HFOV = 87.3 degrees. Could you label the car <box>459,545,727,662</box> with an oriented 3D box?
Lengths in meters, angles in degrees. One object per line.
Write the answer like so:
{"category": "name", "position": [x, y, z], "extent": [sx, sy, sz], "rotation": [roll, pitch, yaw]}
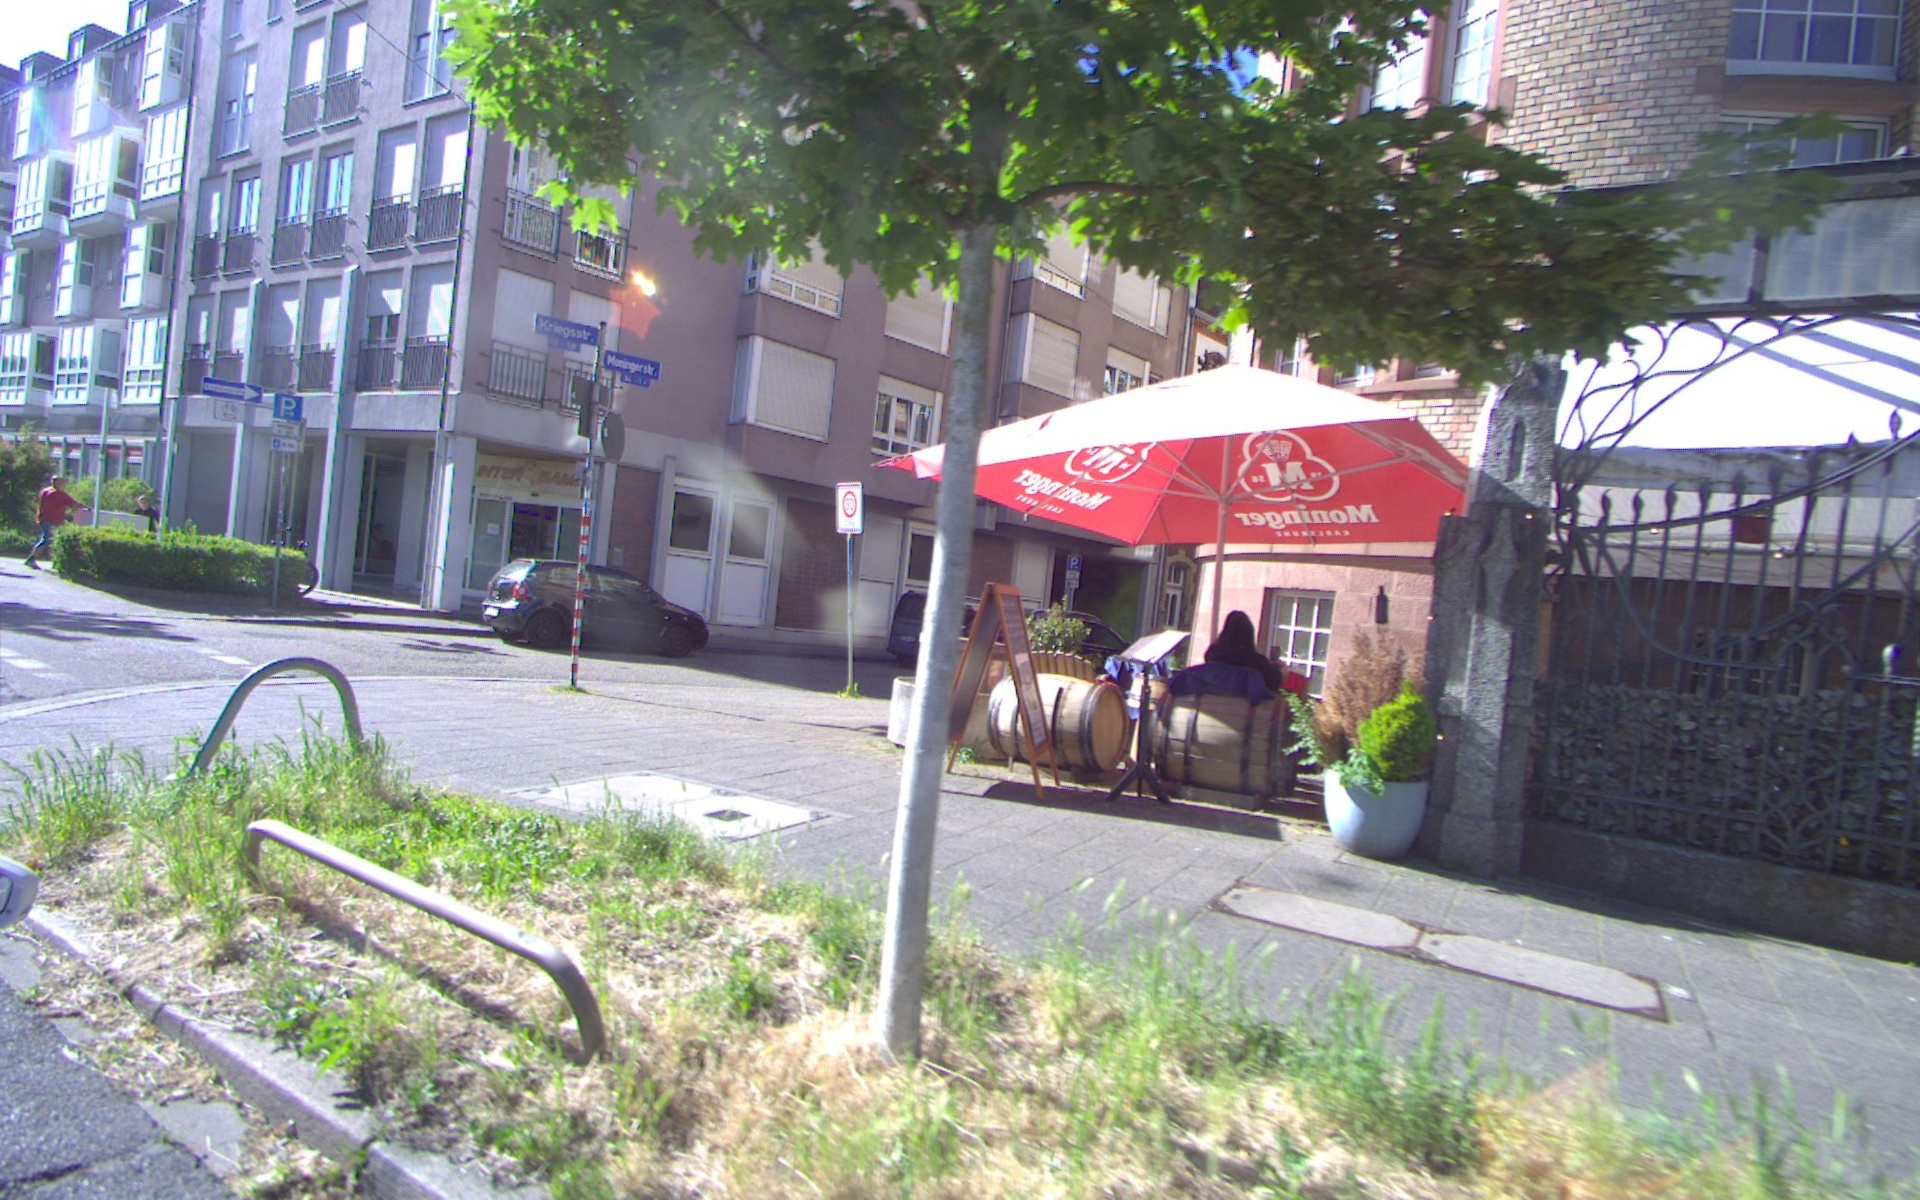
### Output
{"category": "car", "position": [-6.377, 0.102, 17.745], "extent": [1.838, 1.541, 3.935], "rotation": [7, -1, 44]}

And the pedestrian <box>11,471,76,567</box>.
{"category": "pedestrian", "position": [-16.290, -1.424, 17.885], "extent": [0.593, 1.626, 0.653], "rotation": [6, 4, 26]}

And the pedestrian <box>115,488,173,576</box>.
{"category": "pedestrian", "position": [-15.778, -1.302, 19.455], "extent": [0.593, 1.626, 0.653], "rotation": [6, 4, 26]}

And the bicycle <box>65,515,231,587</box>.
{"category": "bicycle", "position": [-14.584, -0.858, 18.140], "extent": [0.676, 1.041, 2.196], "rotation": [9, 3, 33]}

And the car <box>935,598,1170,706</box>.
{"category": "car", "position": [1.664, 0.926, 17.189], "extent": [3.930, 1.541, 1.775], "rotation": [7, -3, -43]}

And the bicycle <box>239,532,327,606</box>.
{"category": "bicycle", "position": [-12.176, -0.574, 18.060], "extent": [2.170, 1.041, 0.684], "rotation": [10, 4, 40]}

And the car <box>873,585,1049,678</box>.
{"category": "car", "position": [0.100, 0.778, 23.761], "extent": [1.772, 1.727, 3.935], "rotation": [7, -1, 44]}
